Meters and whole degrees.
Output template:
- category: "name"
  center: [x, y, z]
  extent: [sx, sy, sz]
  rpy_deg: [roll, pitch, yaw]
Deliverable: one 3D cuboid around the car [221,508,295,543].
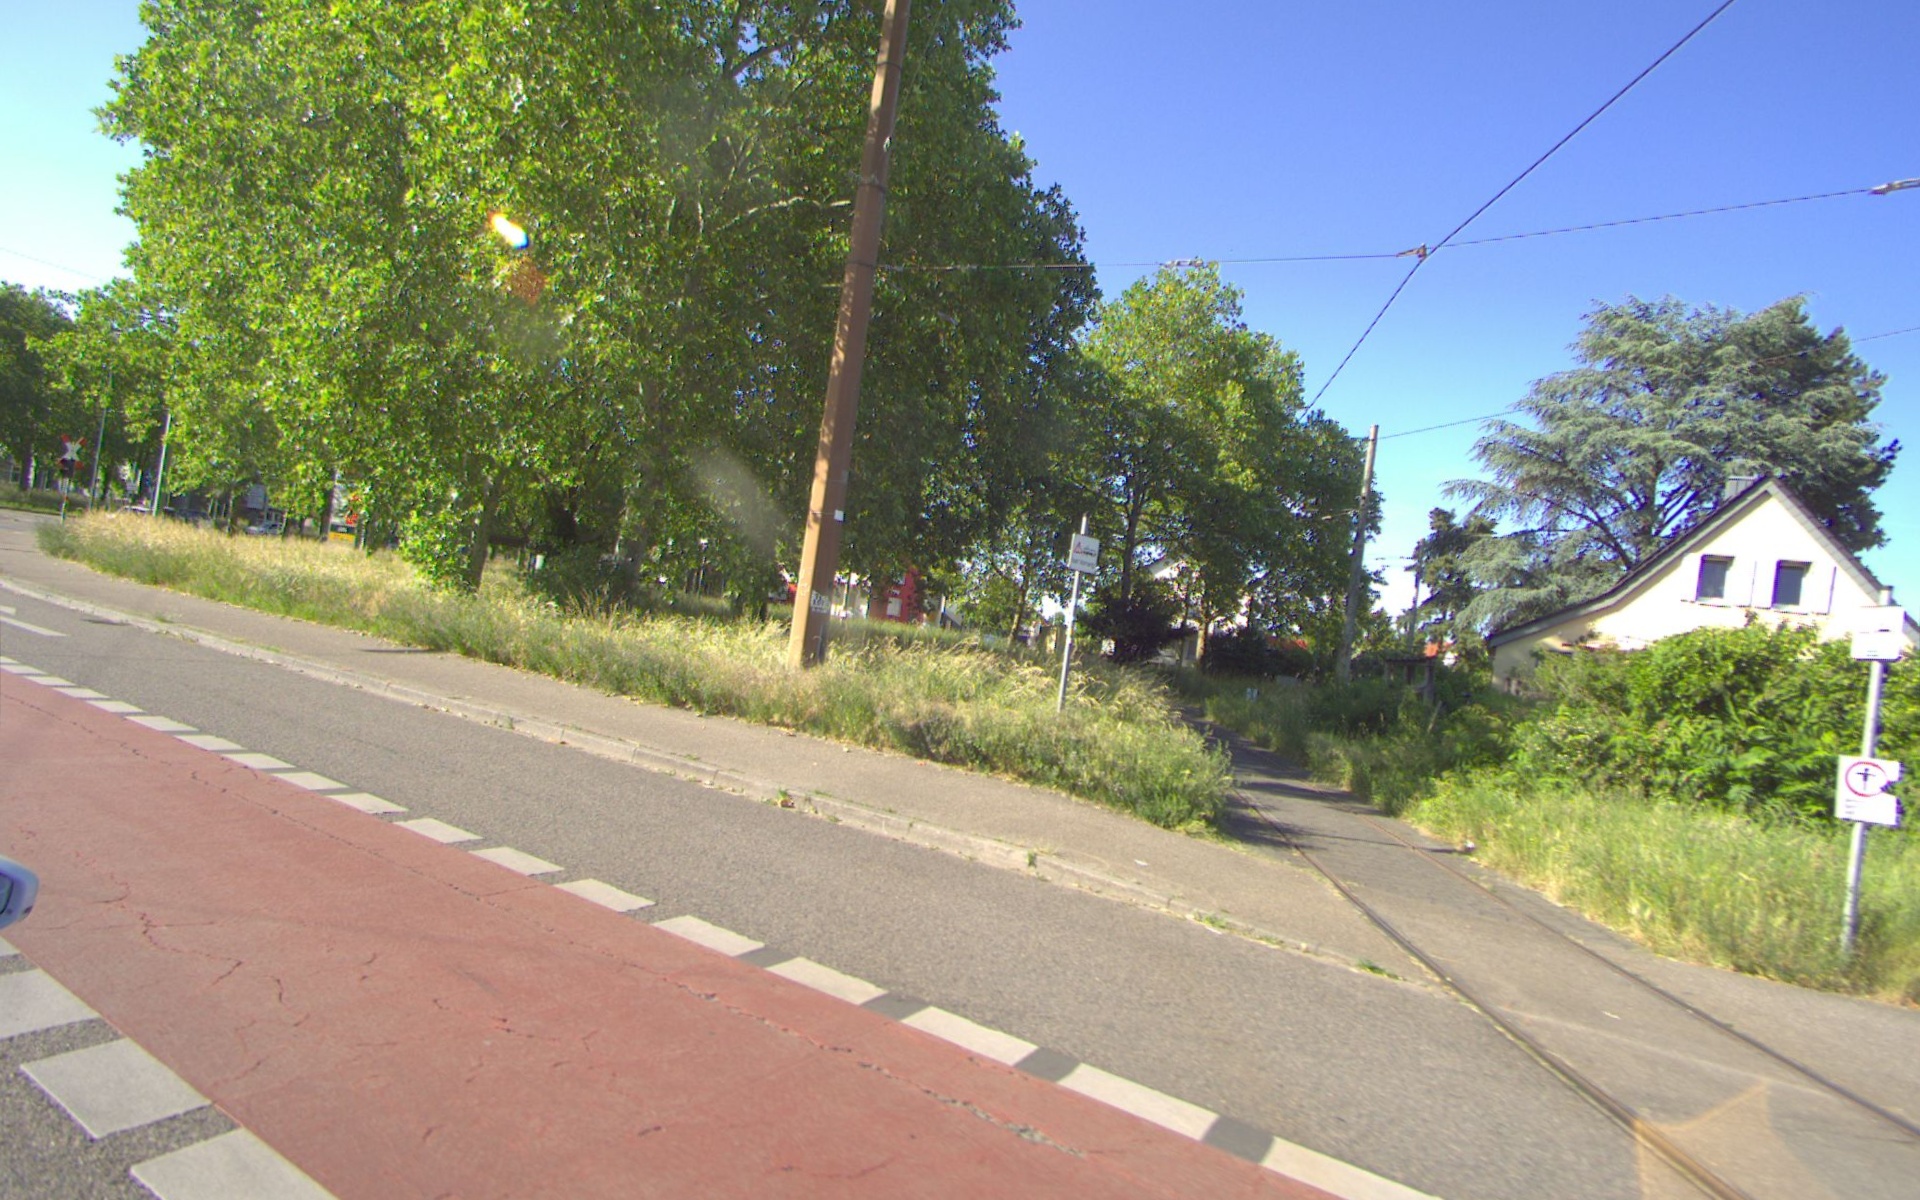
- category: "car"
  center: [-58.681, -6.188, 84.211]
  extent: [1.962, 2.037, 4.909]
  rpy_deg: [8, -1, 9]
